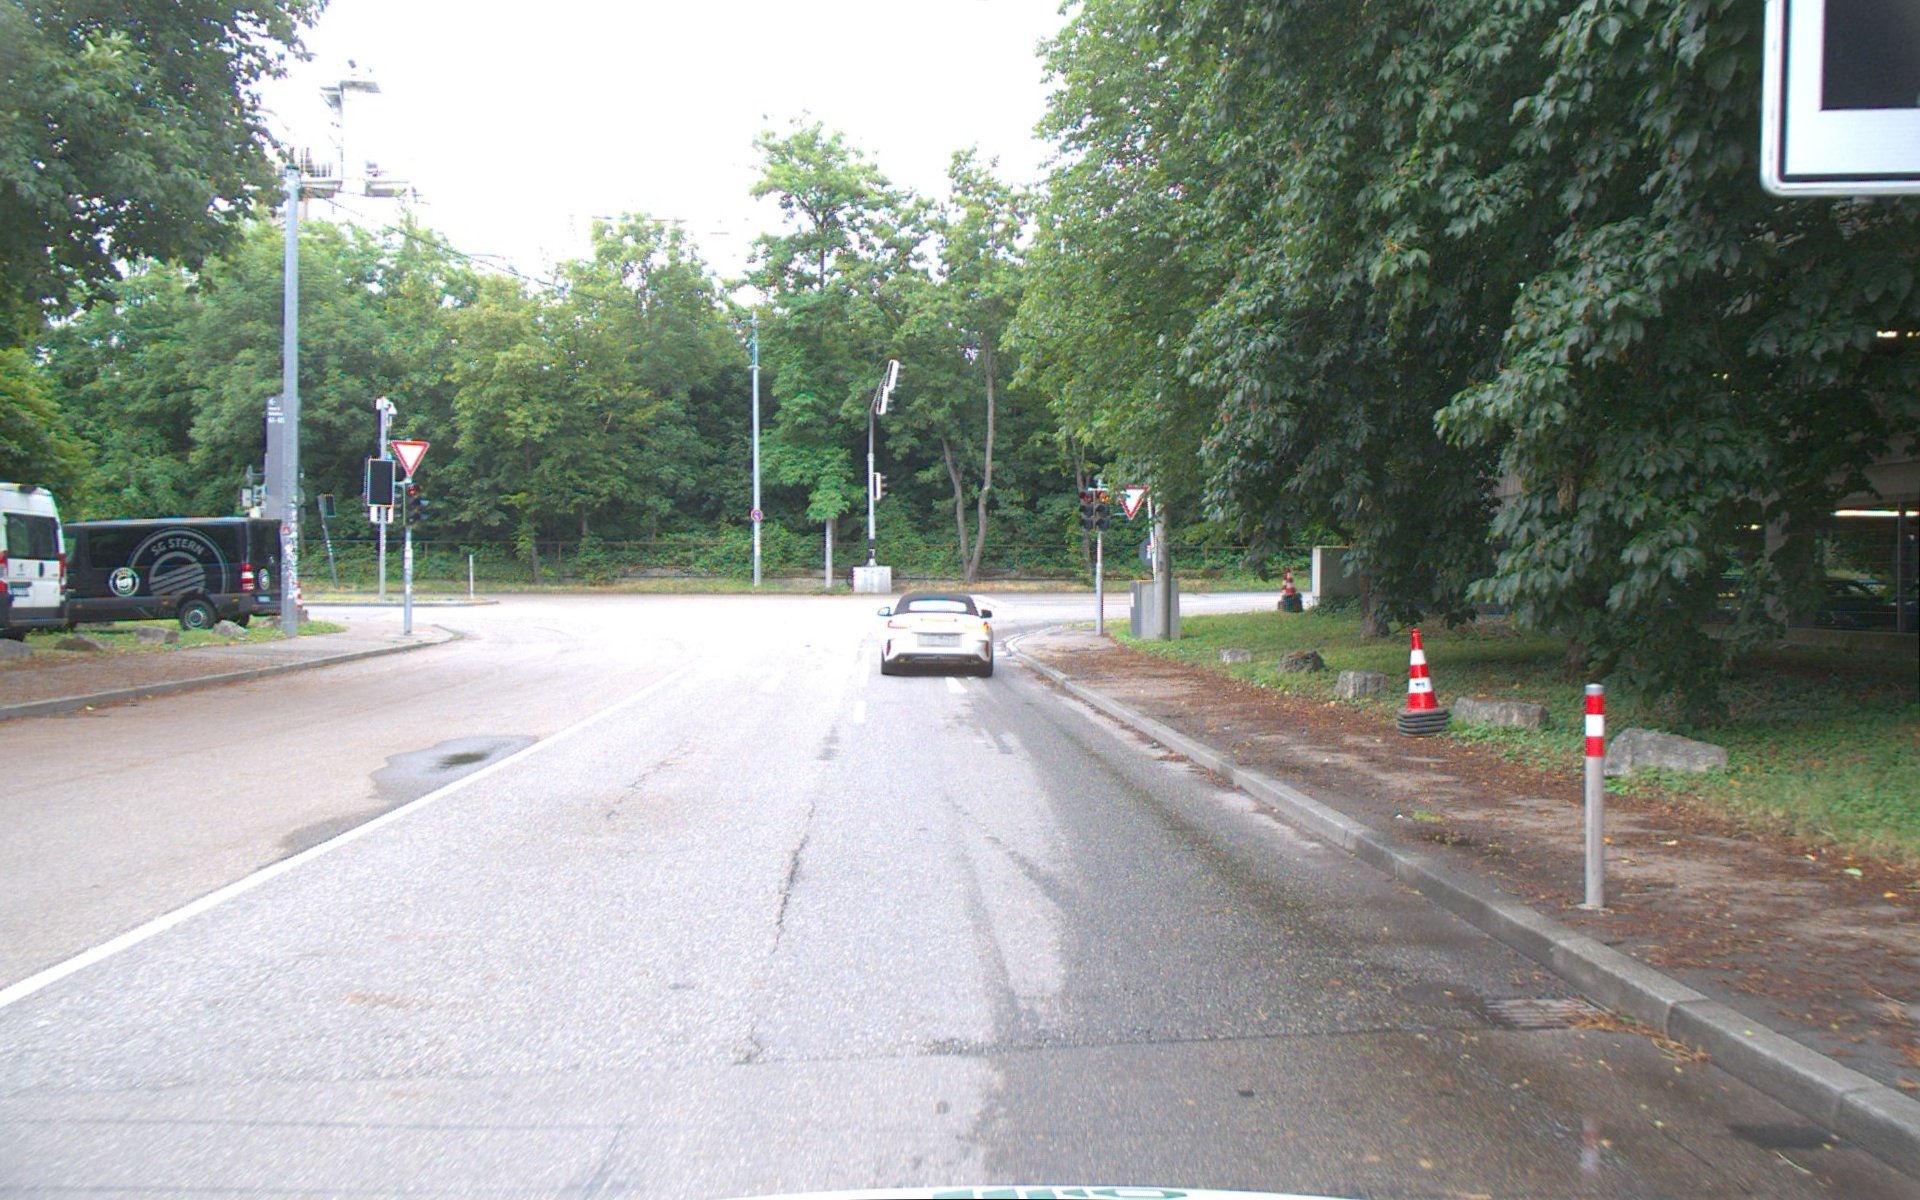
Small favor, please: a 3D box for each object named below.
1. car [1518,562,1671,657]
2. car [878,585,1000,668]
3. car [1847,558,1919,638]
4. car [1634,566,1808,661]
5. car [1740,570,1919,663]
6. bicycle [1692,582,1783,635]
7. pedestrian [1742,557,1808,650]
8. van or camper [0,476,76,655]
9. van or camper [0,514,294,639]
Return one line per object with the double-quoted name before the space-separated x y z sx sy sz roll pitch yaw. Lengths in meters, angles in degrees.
"car" 12.419 0.209 32.590 1.451 1.738 3.717 1 -1 -3
"car" -0.430 0.453 28.148 1.792 1.279 3.996 1 -1 -5
"car" 19.766 -0.017 32.913 1.954 1.579 3.998 1 -1 -3
"car" 14.901 0.273 32.597 1.548 1.738 3.767 1 -1 -3
"car" 17.176 0.337 32.652 1.695 1.693 3.717 1 -1 -3
"bicycle" 11.418 0.125 24.328 0.438 0.749 1.492 1 -1 -10
"pedestrian" 11.918 0.053 24.205 0.628 1.340 0.636 1 -1 -4
"van or camper" -16.395 -0.541 24.973 4.873 2.615 2.059 1 -1 -5
"van or camper" -16.975 -0.463 34.283 5.423 2.354 2.061 -2 -1 -2
